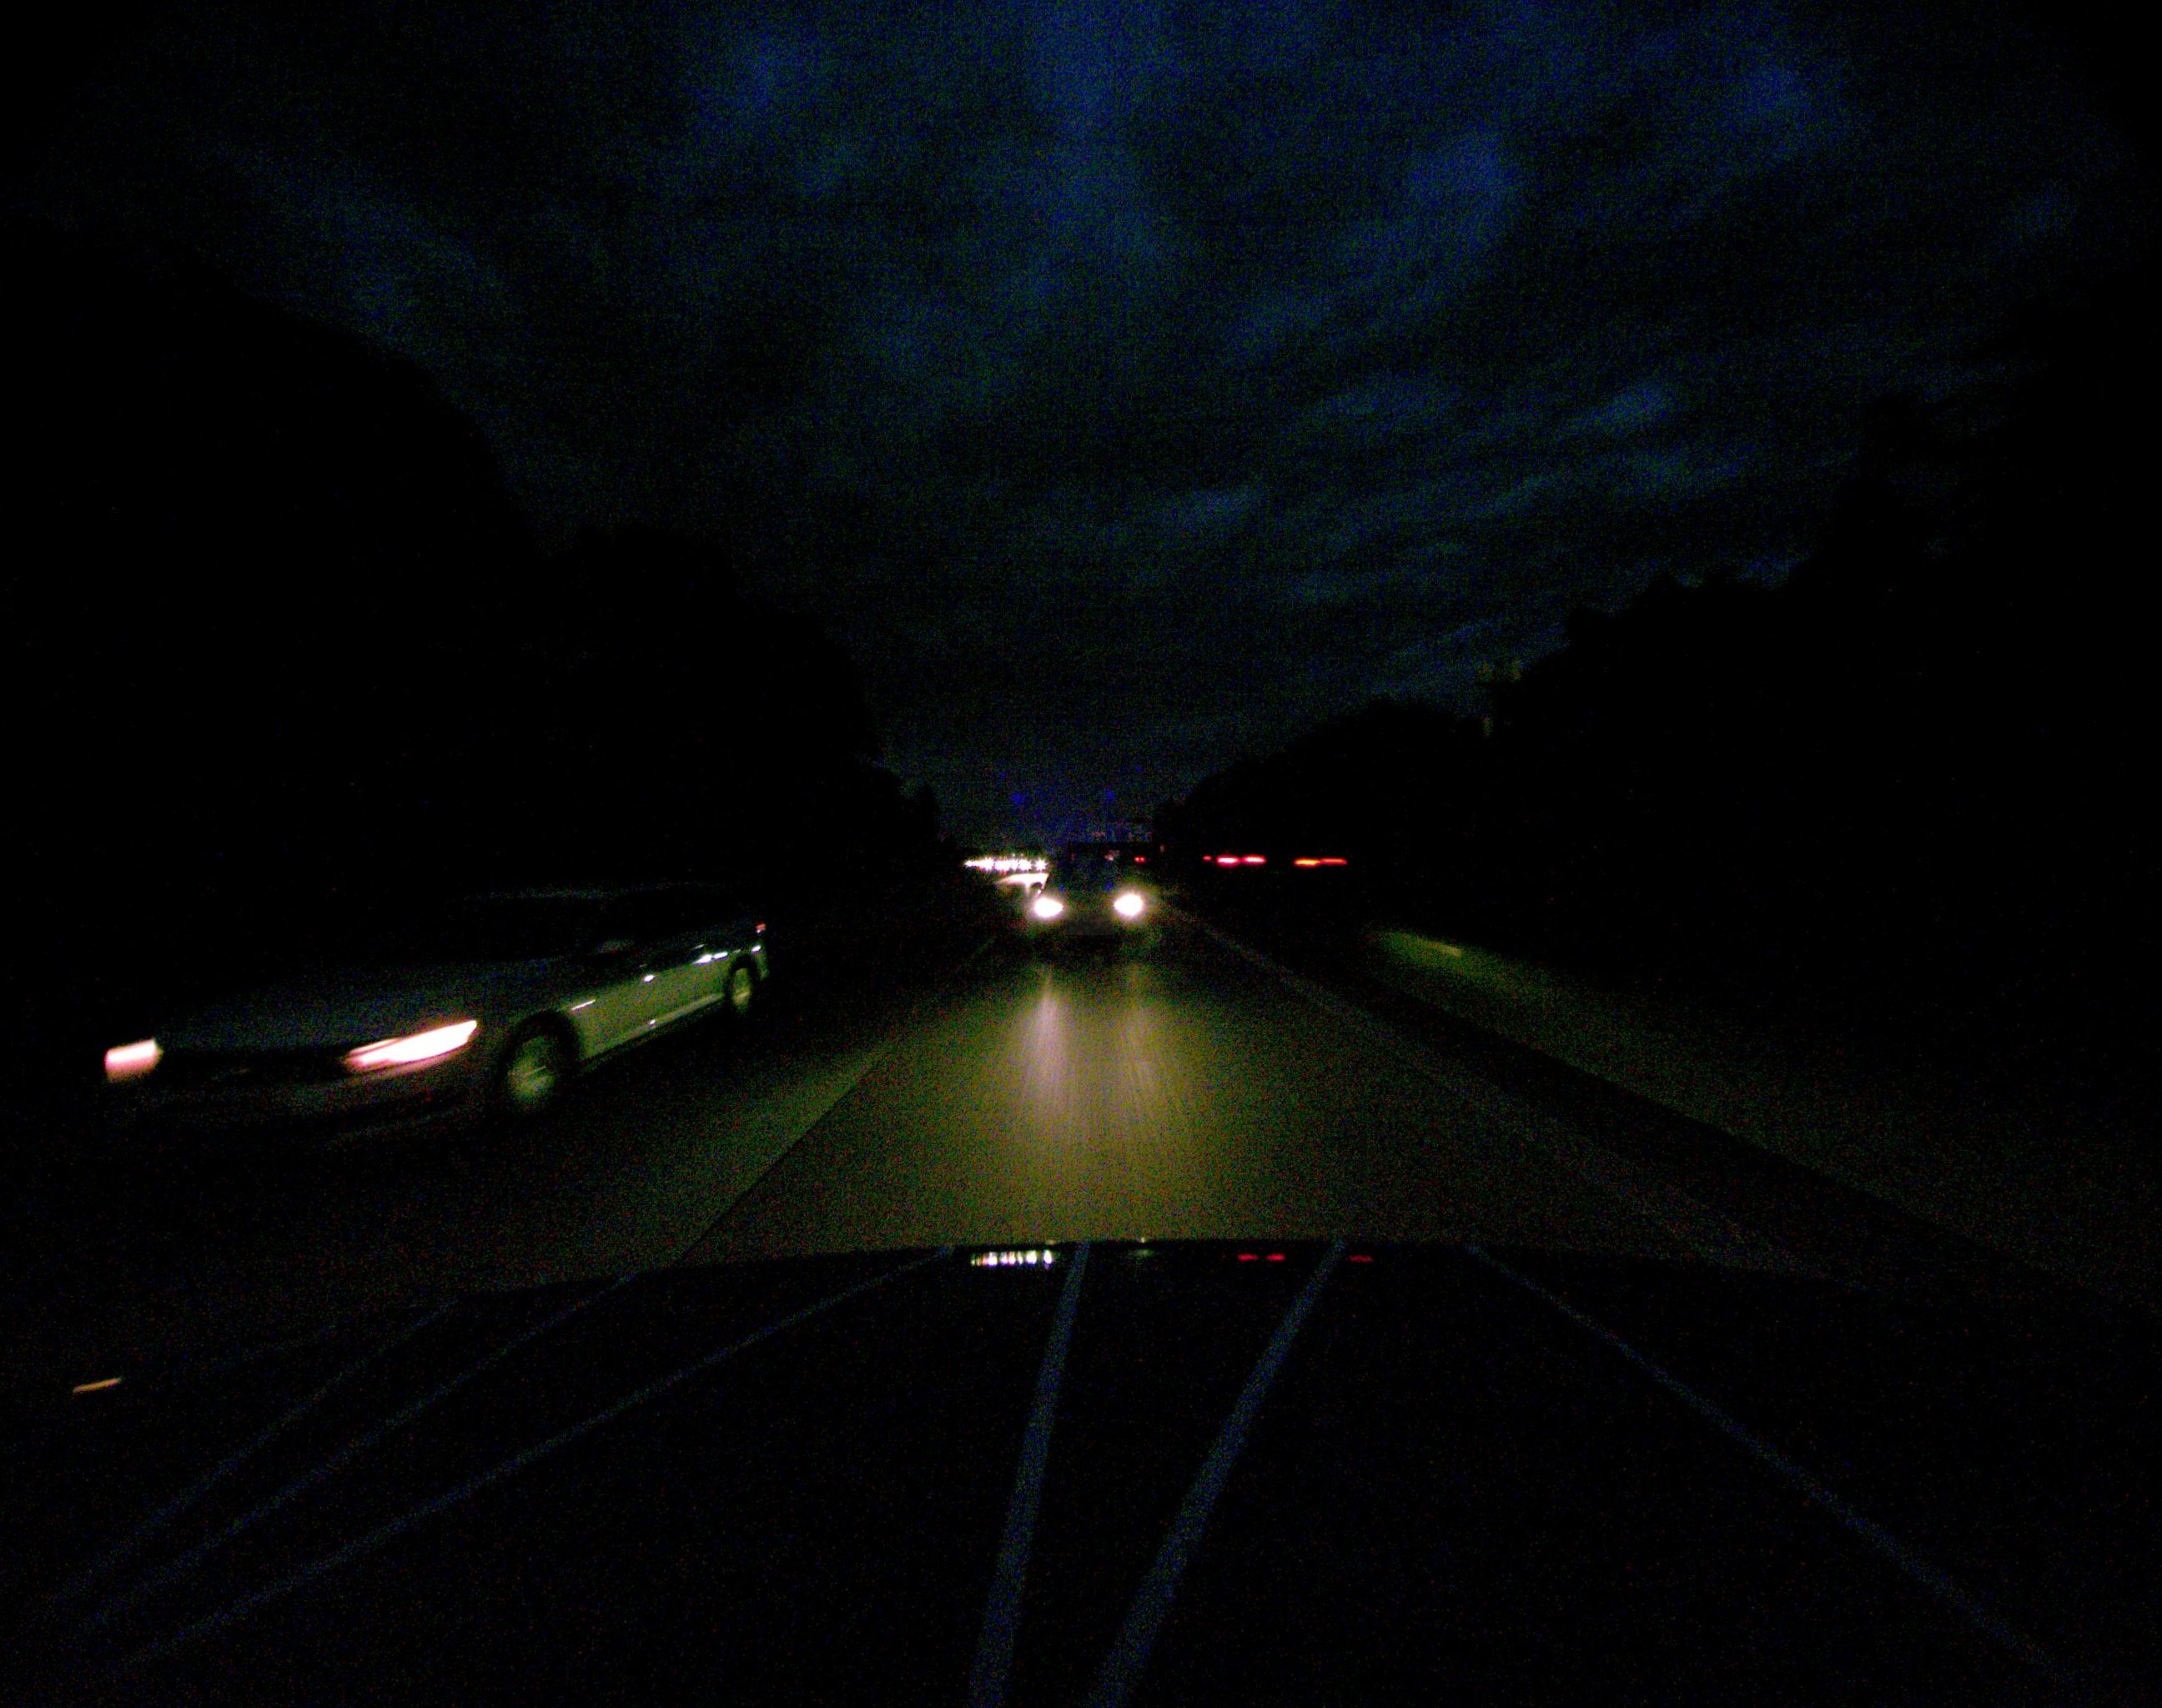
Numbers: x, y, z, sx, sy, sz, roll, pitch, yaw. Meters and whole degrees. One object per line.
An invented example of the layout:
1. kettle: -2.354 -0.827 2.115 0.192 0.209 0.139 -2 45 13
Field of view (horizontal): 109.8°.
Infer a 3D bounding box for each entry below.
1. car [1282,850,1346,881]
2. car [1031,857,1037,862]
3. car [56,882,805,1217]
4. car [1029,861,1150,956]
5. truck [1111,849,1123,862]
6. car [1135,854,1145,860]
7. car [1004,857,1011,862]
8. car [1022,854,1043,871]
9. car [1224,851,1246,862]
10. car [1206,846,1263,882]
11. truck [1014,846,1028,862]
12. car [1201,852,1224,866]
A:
1. car: 11.817 0.579 38.903 1.880 1.435 4.451 -2 0 0
2. car: -14.932 1.671 240.214 1.819 1.372 4.197 -2 0 -2
3. car: -4.123 1.054 6.299 1.814 1.457 5.132 -2 -1 -1
4. car: 0.168 0.890 14.311 1.879 1.435 4.451 -2 0 1
5. truck: 11.926 0.497 250.878 2.652 3.987 10.541 -2 0 -4
6. car: 15.324 0.767 197.241 1.856 1.488 4.593 -2 0 -3
7. car: -21.518 1.594 222.472 1.819 1.372 4.042 -2 0 -2
8. car: -4.933 0.864 77.645 1.999 1.539 4.000 -2 0 -2
9. car: 21.222 0.347 104.944 1.819 1.372 4.907 -2 0 -2
10. car: 8.217 0.536 41.174 1.999 1.787 4.830 -2 0 -1
11. truck: -15.564 0.047 198.116 3.146 3.987 10.542 -2 0 -3
12. car: 14.407 0.483 83.569 1.847 1.446 3.602 -2 0 0
